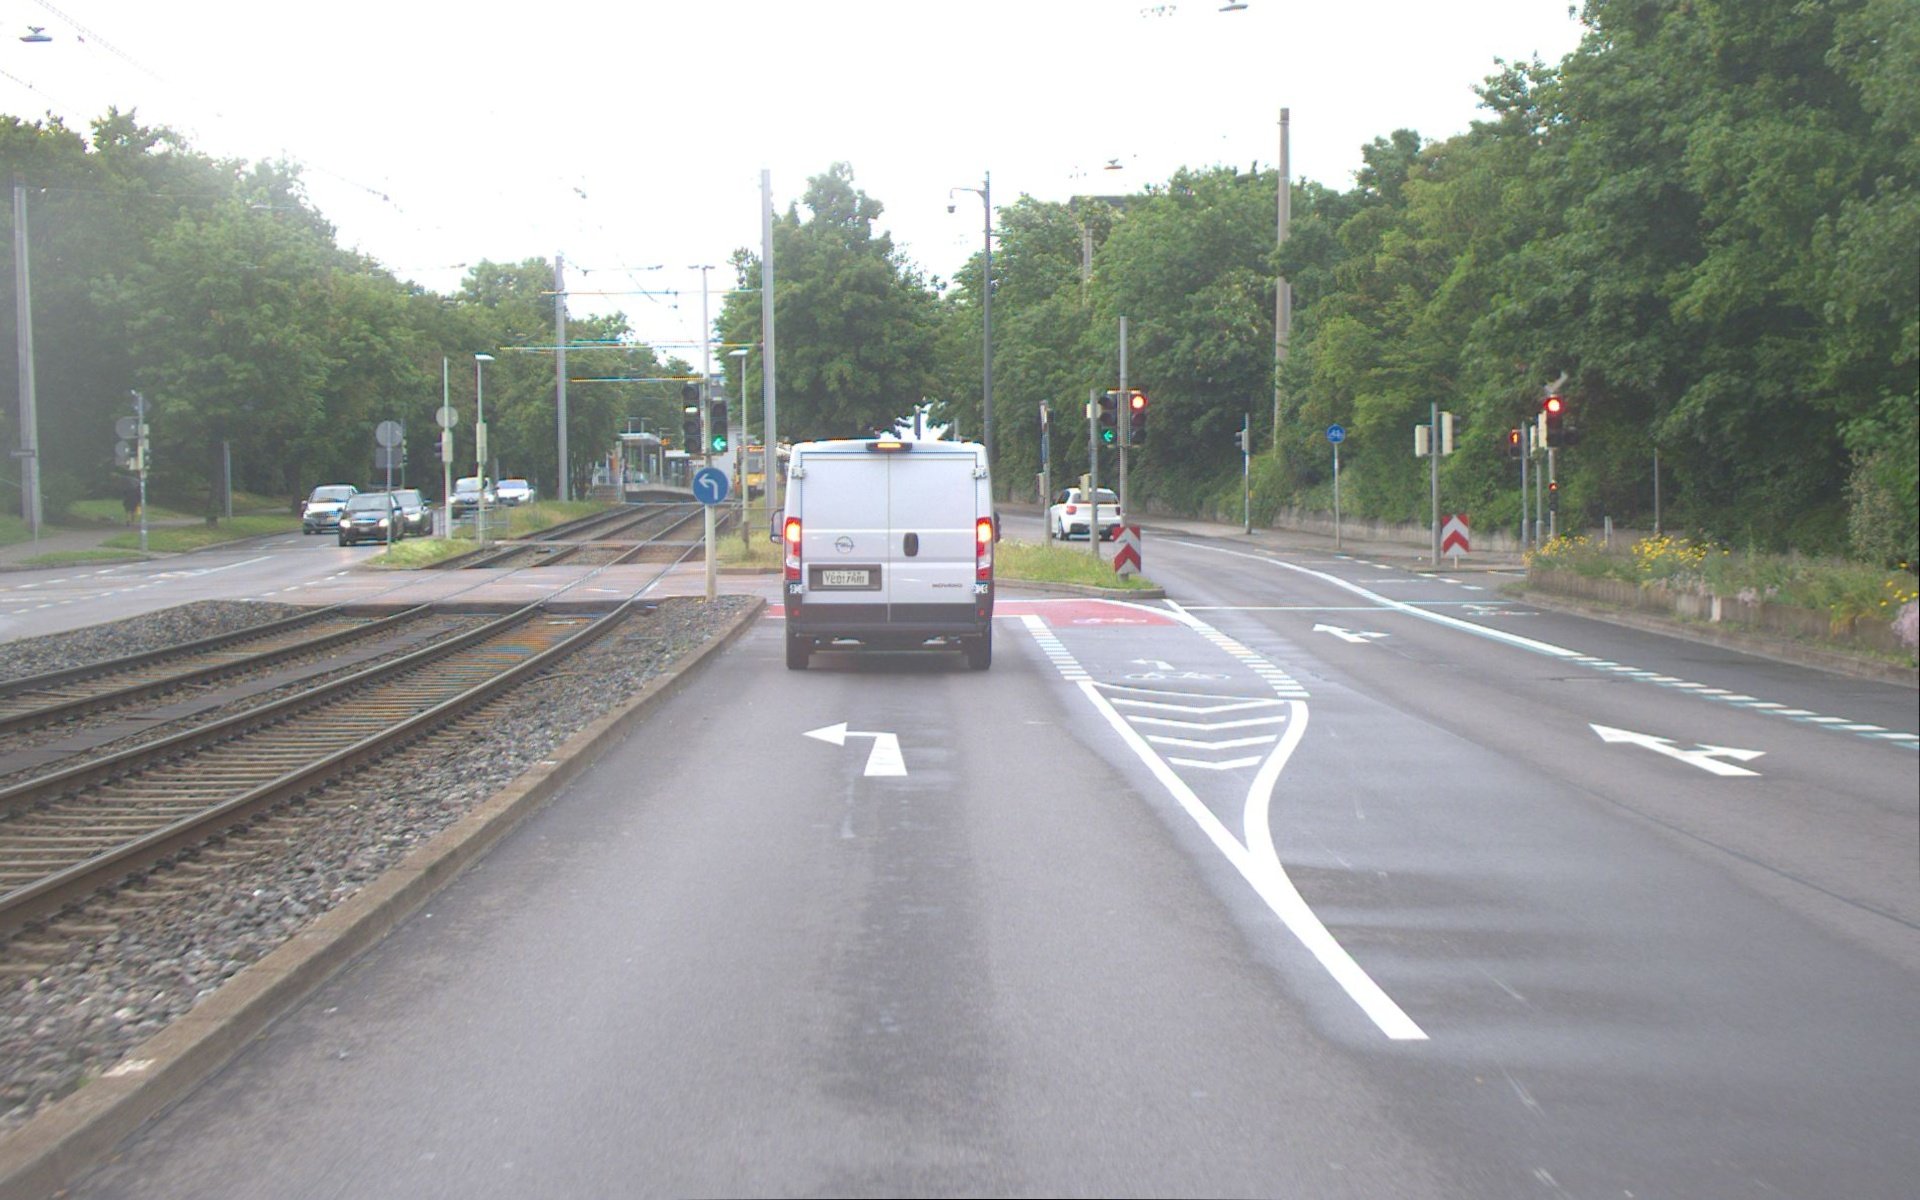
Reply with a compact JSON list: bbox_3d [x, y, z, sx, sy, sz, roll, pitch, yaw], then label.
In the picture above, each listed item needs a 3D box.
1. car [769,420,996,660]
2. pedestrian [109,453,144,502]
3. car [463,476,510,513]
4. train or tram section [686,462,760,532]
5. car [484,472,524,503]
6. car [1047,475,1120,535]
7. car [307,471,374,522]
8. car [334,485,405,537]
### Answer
[{"bbox_3d":[-0.784,-0.628,35.300,2.146,2.275,5.063,0,1,-1],"label":"car"},{"bbox_3d":[-27.376,-4.019,112.918,1.013,1.595,1.040,-1,2,-8],"label":"pedestrian"},{"bbox_3d":[-19.284,-4.306,140.159,1.601,1.397,3.793,1,3,-3],"label":"car"},{"bbox_3d":[-14.938,-6.454,217.940,4.060,3.881,15.040,1,0,-2],"label":"train or tram section"},{"bbox_3d":[-21.707,-5.364,163.735,1.601,1.397,3.793,1,3,-3],"label":"car"},{"bbox_3d":[3.323,-2.602,93.246,1.703,1.516,3.792,1,3,-2],"label":"car"},{"bbox_3d":[-21.120,-3.548,117.343,1.719,1.548,3.864,-3,3,-3],"label":"car"},{"bbox_3d":[-17.050,-2.591,99.329,1.601,1.397,3.793,1,3,-3],"label":"car"}]
